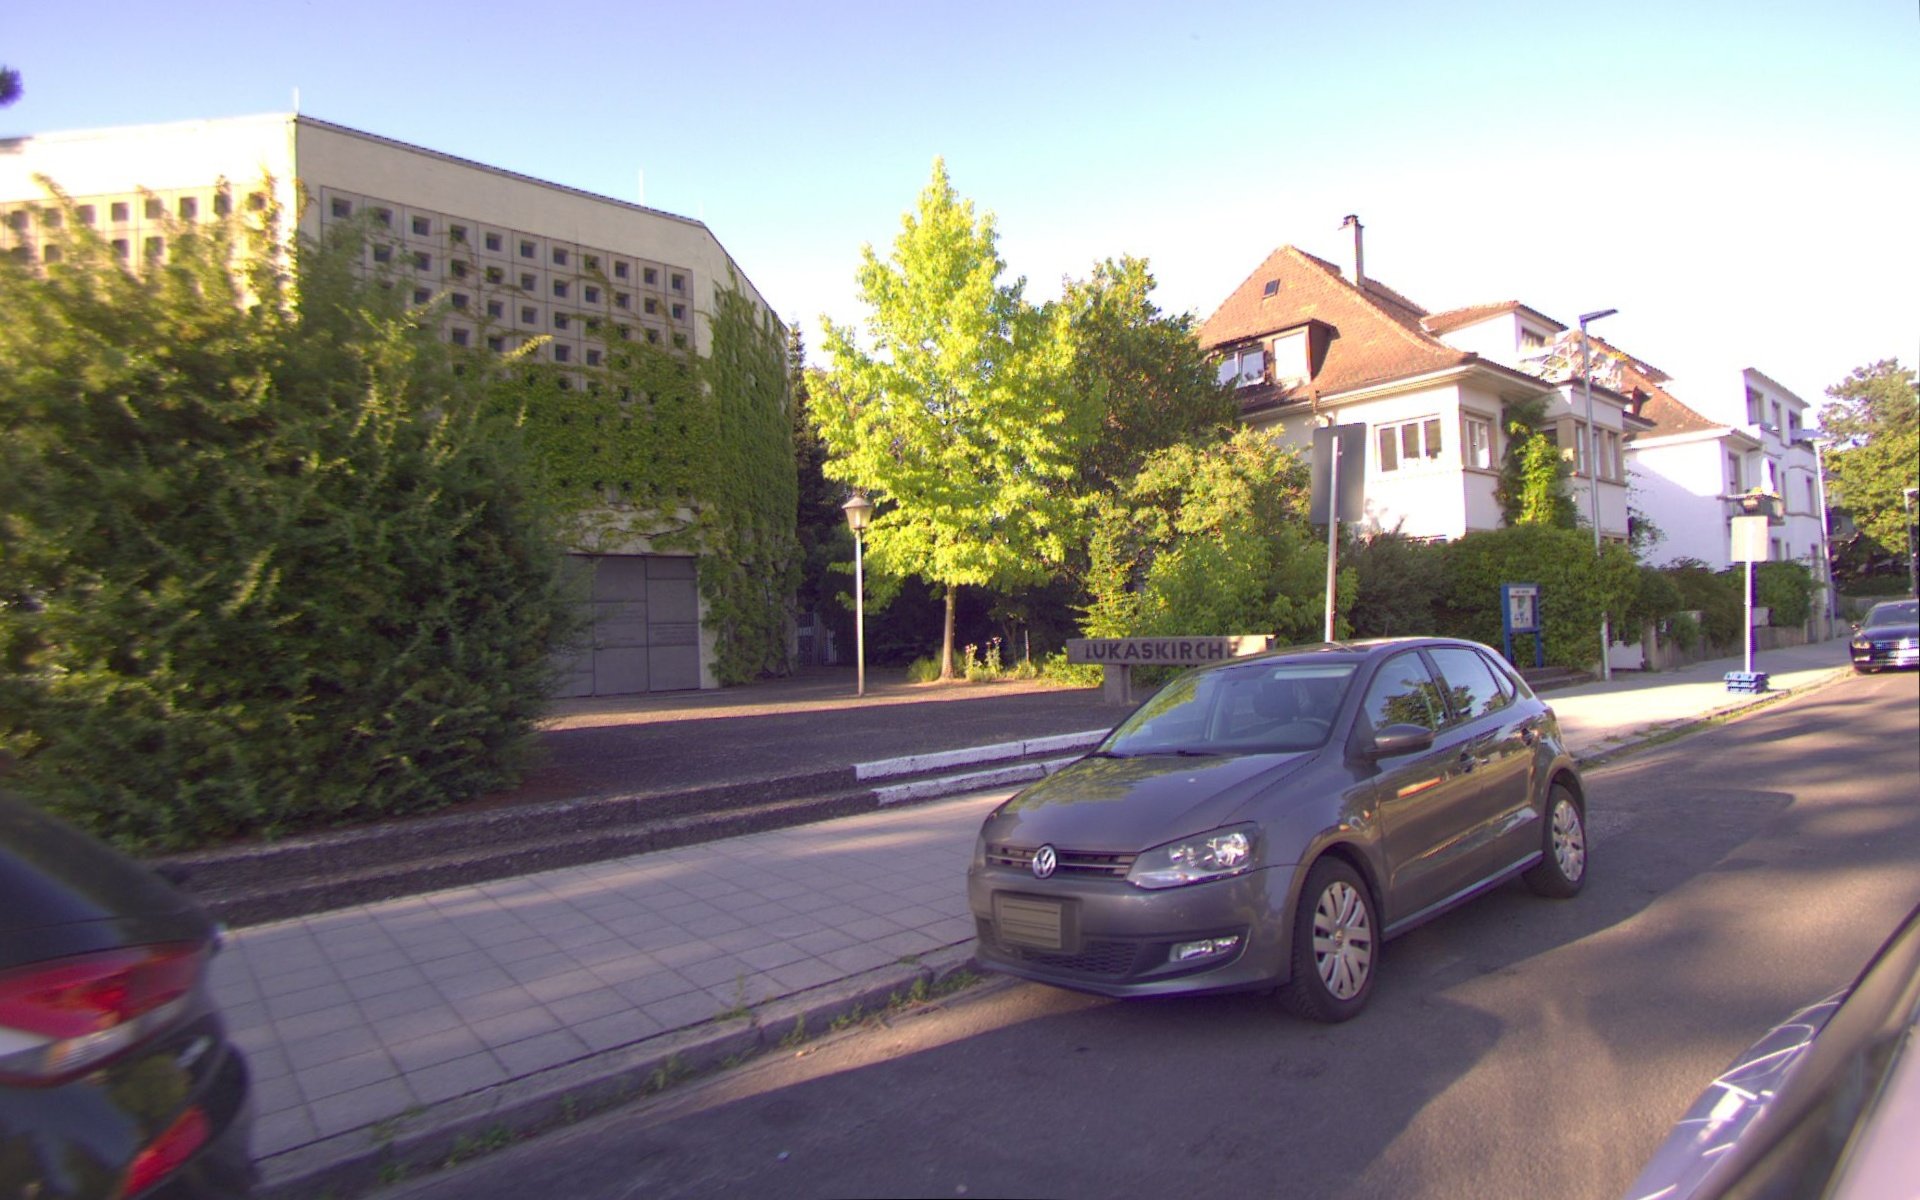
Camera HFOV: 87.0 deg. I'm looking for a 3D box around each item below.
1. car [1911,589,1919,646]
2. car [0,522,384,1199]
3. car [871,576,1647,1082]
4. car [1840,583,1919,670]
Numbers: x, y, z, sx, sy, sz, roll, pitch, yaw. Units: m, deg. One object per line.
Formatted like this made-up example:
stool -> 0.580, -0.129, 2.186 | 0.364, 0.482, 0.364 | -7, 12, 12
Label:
car -> 28.819, 0.335, 28.775 | 4.383, 1.556, 1.886 | -2, -4, -39
car -> -3.138, 0.833, 0.688 | 4.540, 1.582, 1.824 | -1, -8, -40
car -> 1.750, 0.783, 5.119 | 4.101, 1.548, 1.689 | 0, -6, -41
car -> 20.707, 0.451, 21.745 | 4.803, 1.618, 1.995 | -2, -5, -42
